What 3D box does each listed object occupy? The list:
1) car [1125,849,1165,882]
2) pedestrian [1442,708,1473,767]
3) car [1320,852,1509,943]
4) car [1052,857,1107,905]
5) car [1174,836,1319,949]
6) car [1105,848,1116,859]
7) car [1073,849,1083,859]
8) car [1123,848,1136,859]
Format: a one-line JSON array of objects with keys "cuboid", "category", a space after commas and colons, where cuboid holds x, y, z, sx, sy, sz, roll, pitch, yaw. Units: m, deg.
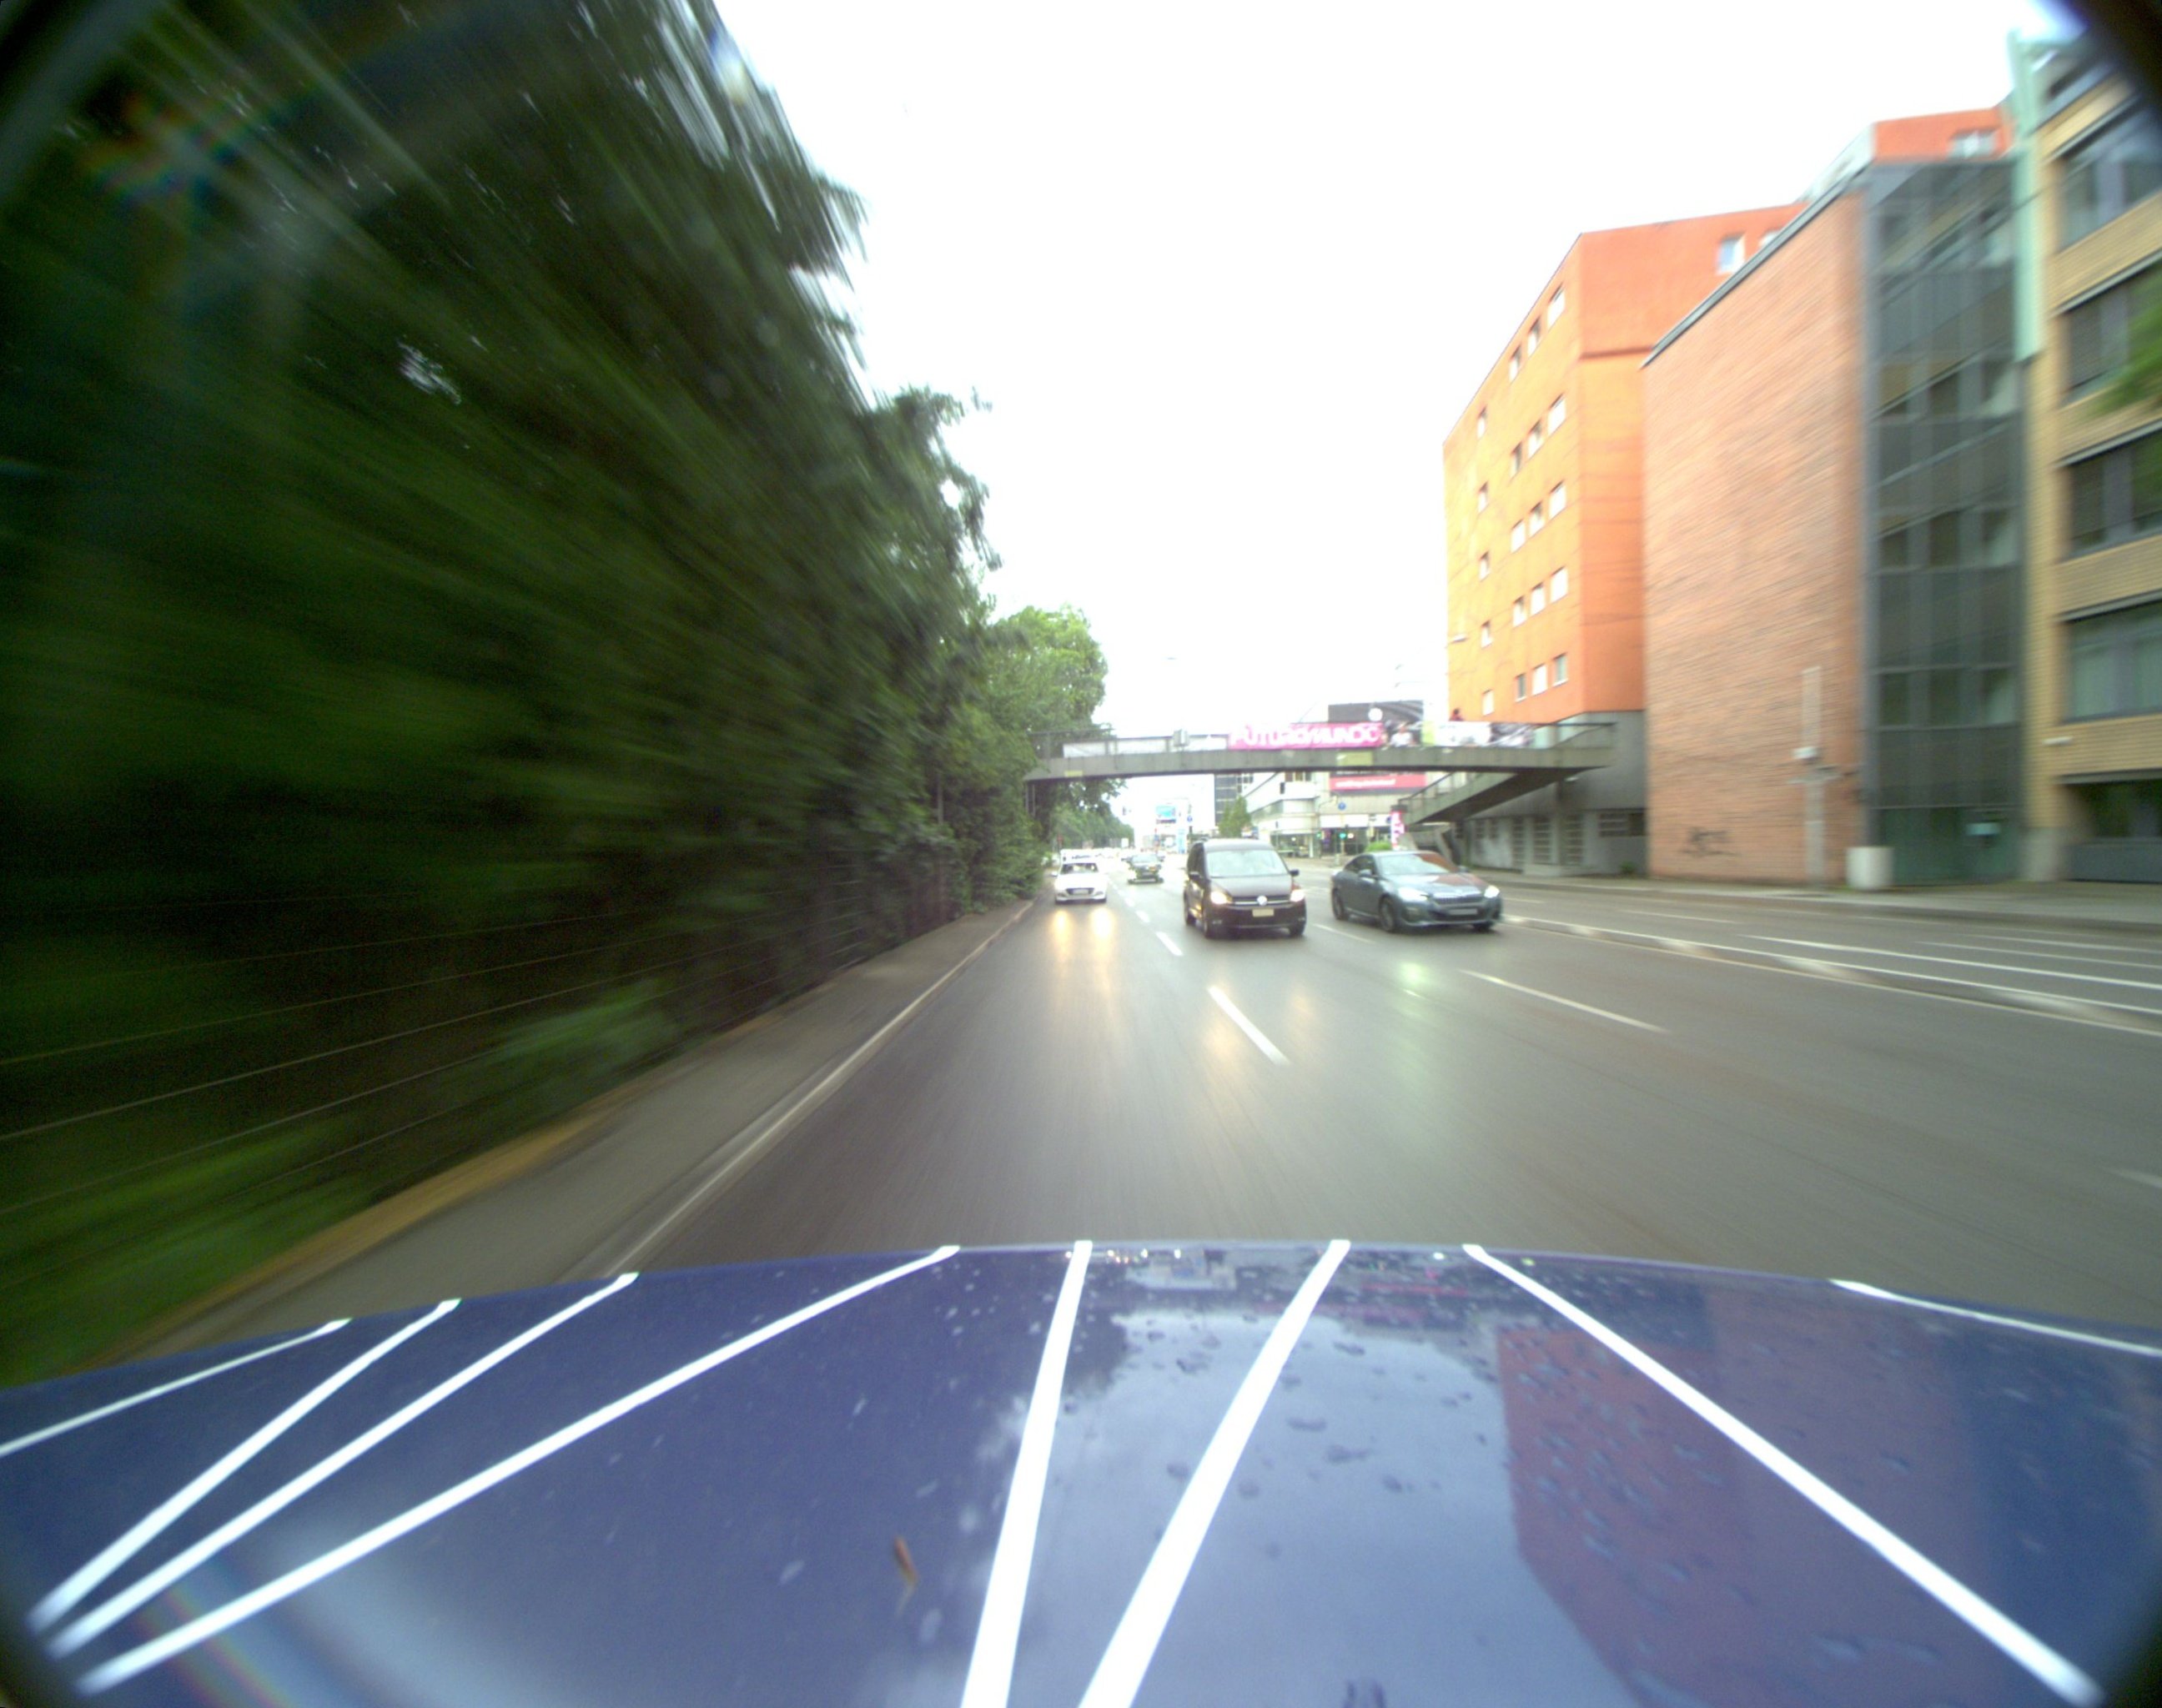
[{"cuboid": [3.379, 0.556, 40.620, 1.731, 1.604, 3.999, -2, 1, 0], "category": "car"}, {"cuboid": [15.070, -4.638, 30.441, 0.833, 2.242, 0.738, -1, 1, -5], "category": "pedestrian"}, {"cuboid": [6.086, 0.693, 14.504, 1.669, 1.407, 4.539, -2, 0, 1], "category": "car"}, {"cuboid": [-0.052, 0.879, 26.759, 1.731, 1.431, 3.999, -2, 1, 0], "category": "car"}, {"cuboid": [3.007, 0.646, 14.679, 1.842, 1.780, 4.000, -3, 0, 0], "category": "car"}, {"cuboid": [5.346, -0.139, 138.497, 1.878, 1.762, 3.999, -3, 1, 1], "category": "car"}, {"cuboid": [-0.670, -0.043, 158.331, 1.878, 1.762, 3.999, -3, 1, 1], "category": "car"}, {"cuboid": [7.090, -0.114, 109.857, 1.730, 1.502, 3.732, -2, 1, 5], "category": "car"}]
